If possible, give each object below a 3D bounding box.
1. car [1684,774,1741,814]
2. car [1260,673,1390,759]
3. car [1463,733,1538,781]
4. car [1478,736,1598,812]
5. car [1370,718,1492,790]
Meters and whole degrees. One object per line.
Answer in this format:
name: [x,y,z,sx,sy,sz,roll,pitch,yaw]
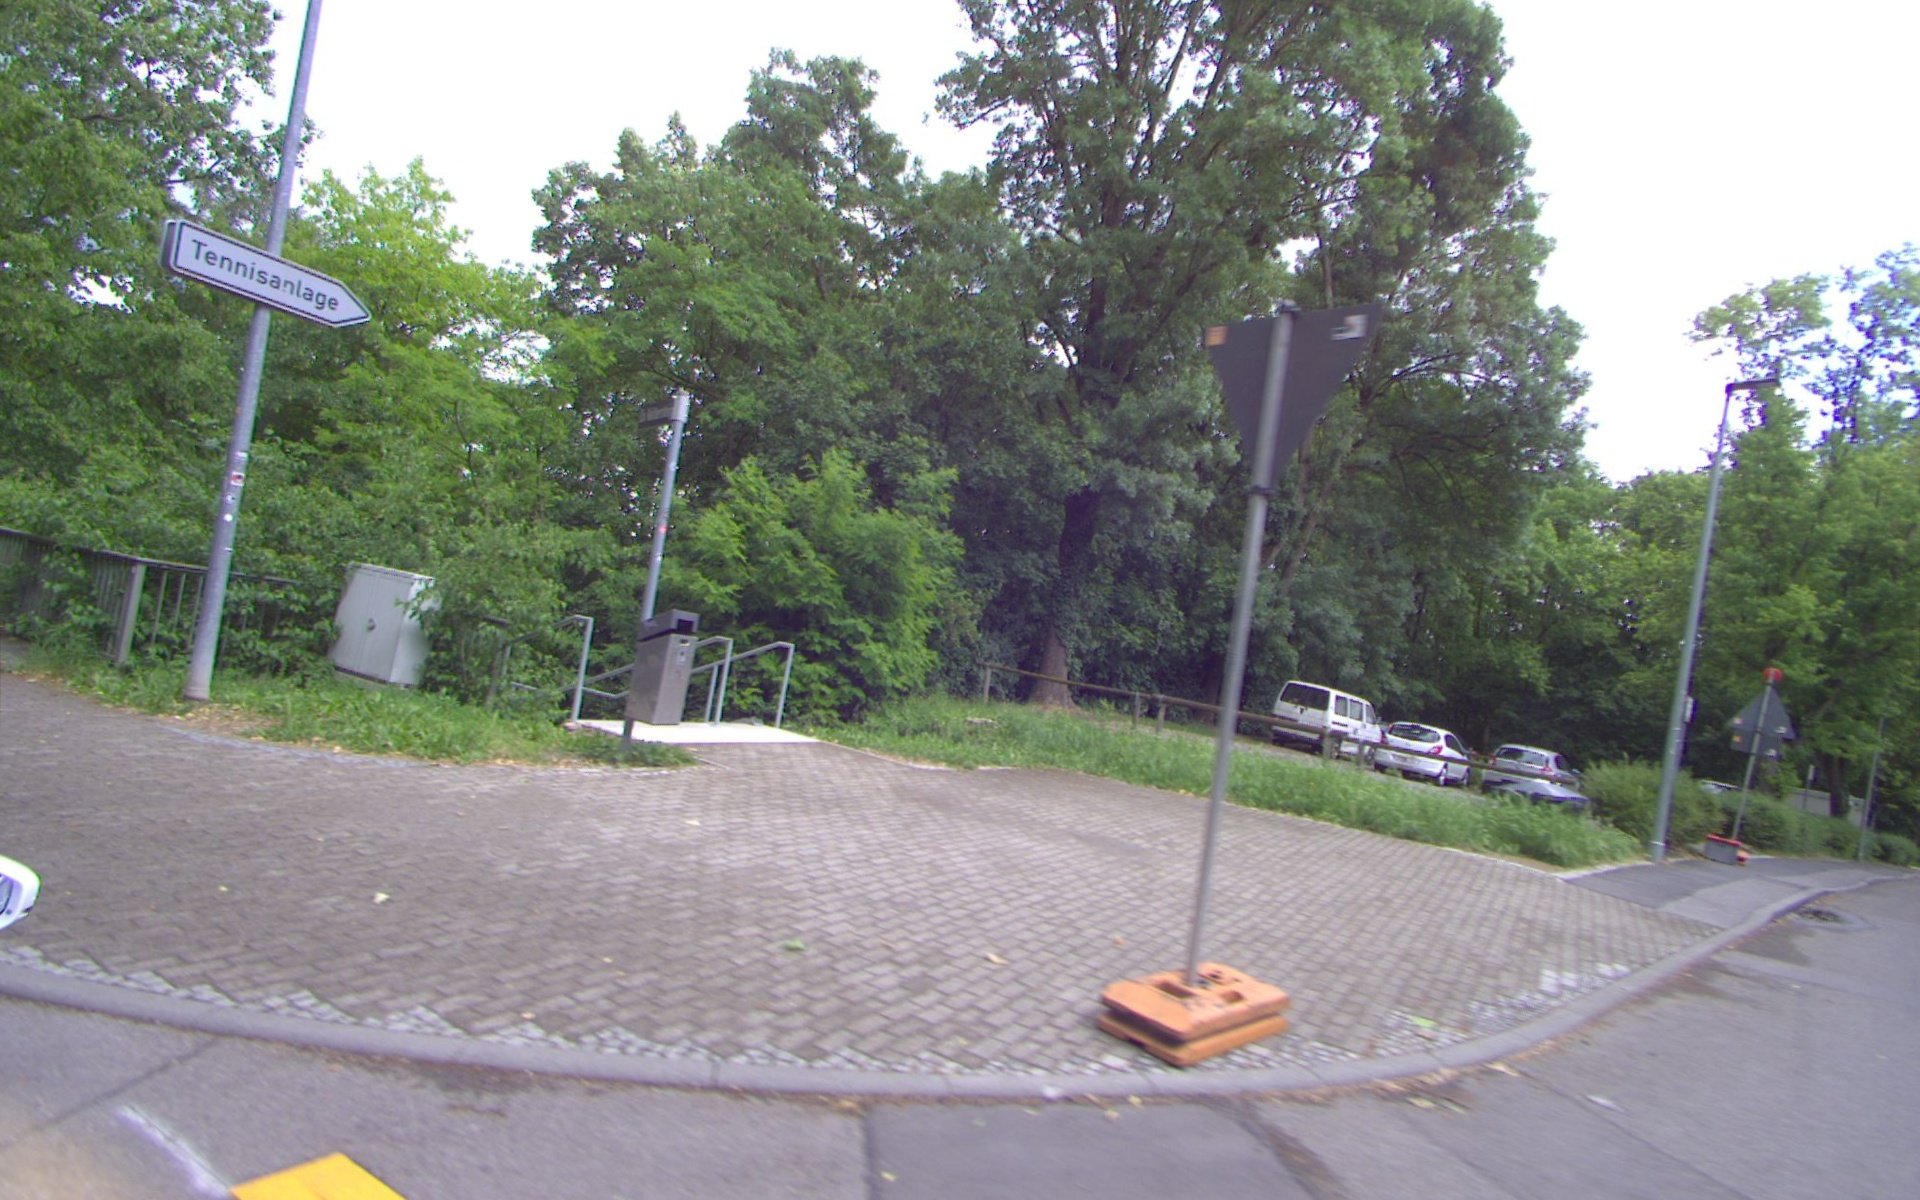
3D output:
car: [36.308,9.297,48.499,1.775,1.515,4.204,6,-3,41]
car: [10.583,3.376,29.035,1.973,2.036,4.204,6,-3,41]
car: [22.031,6.404,40.952,1.807,1.587,3.516,6,-3,42]
car: [14.868,4.425,25.761,1.775,1.515,4.204,6,-3,41]
car: [12.718,4.151,27.049,1.775,1.515,4.204,6,-3,41]
